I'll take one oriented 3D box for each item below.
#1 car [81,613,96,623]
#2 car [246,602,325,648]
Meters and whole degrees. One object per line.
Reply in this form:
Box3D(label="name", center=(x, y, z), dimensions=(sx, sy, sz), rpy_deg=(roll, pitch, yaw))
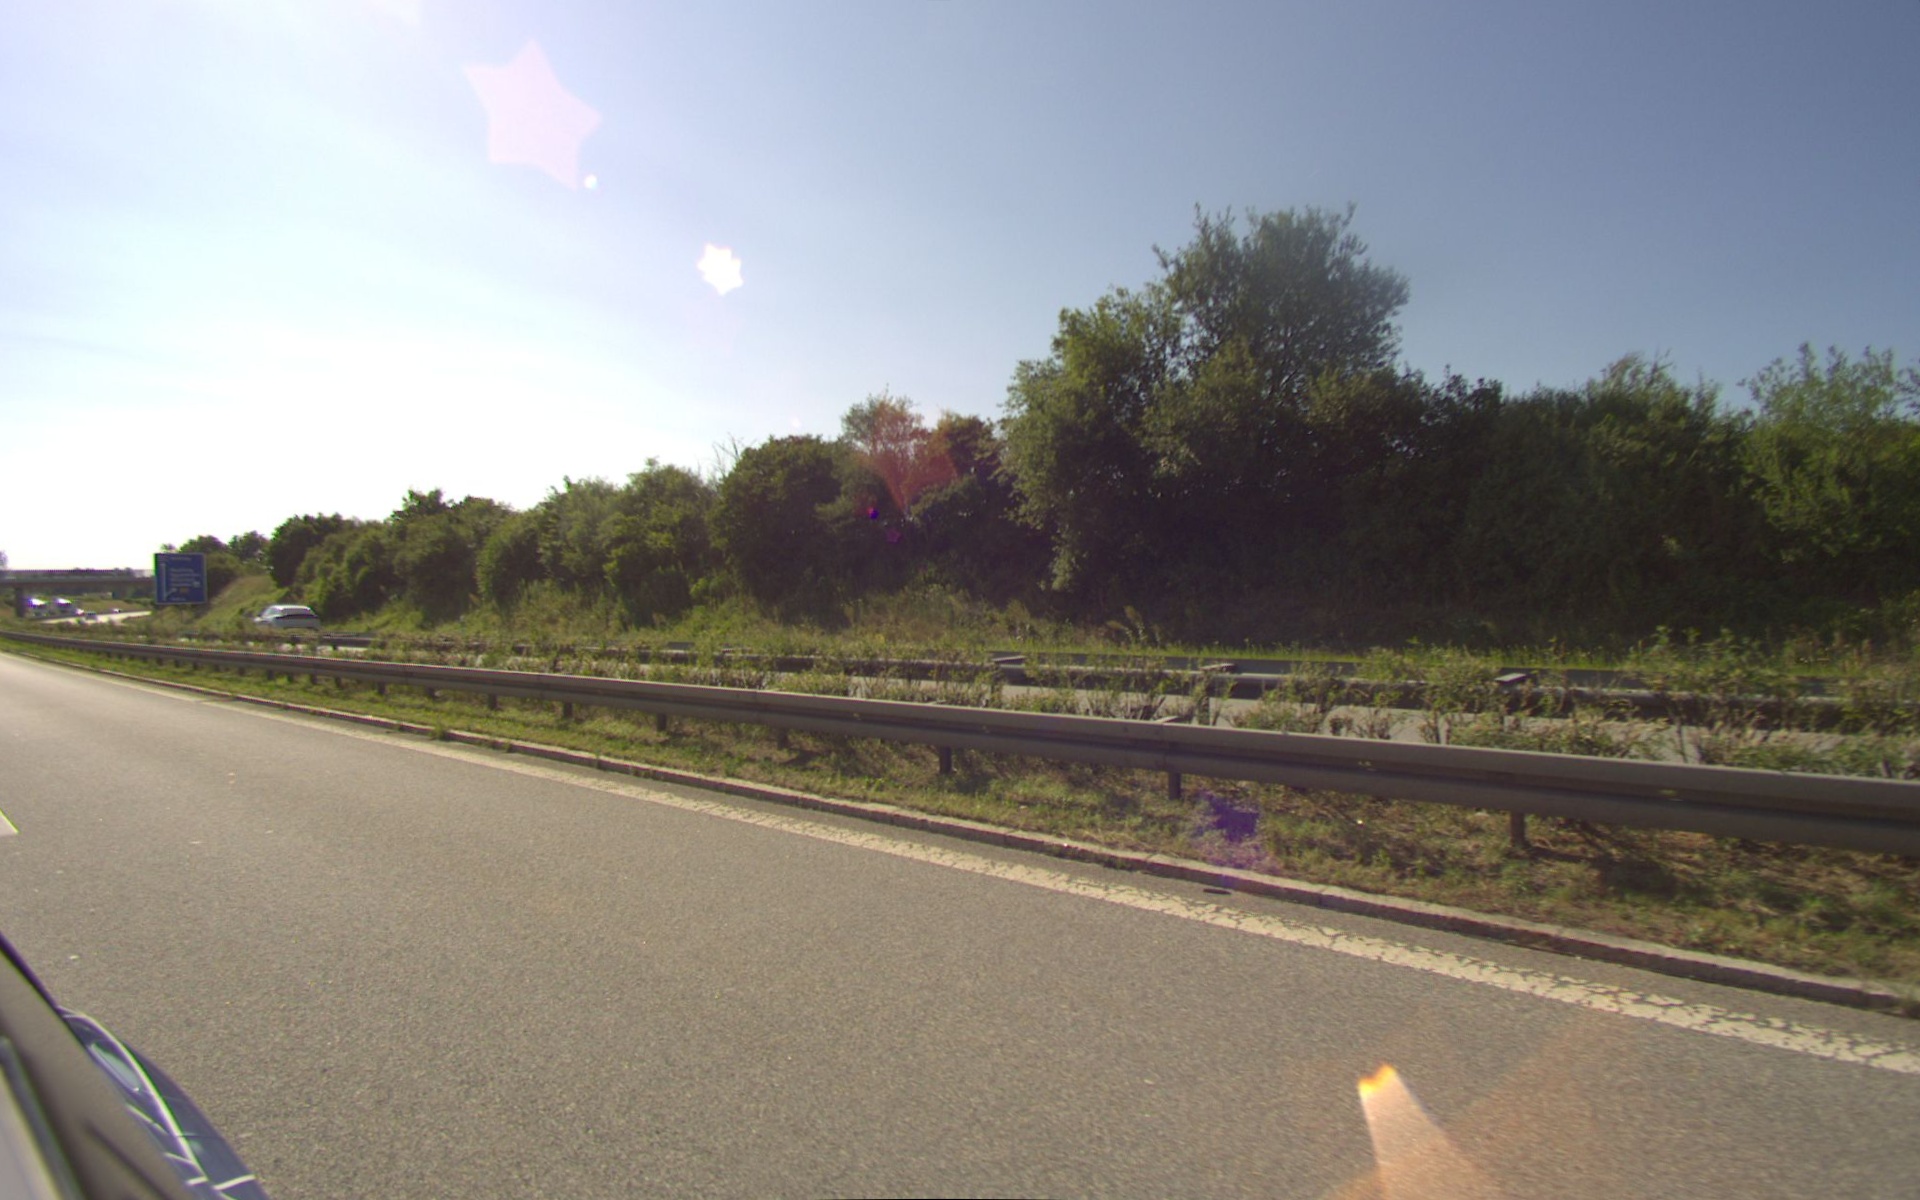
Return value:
Box3D(label="car", center=(-151.921, 3.123, 176.357), dimensions=(1.834, 1.610, 4.004), rpy_deg=(0, 0, -43))
Box3D(label="car", center=(-31.590, 1.154, 47.323), dimensions=(4.854, 2.029, 1.972), rpy_deg=(-1, 0, 42))
